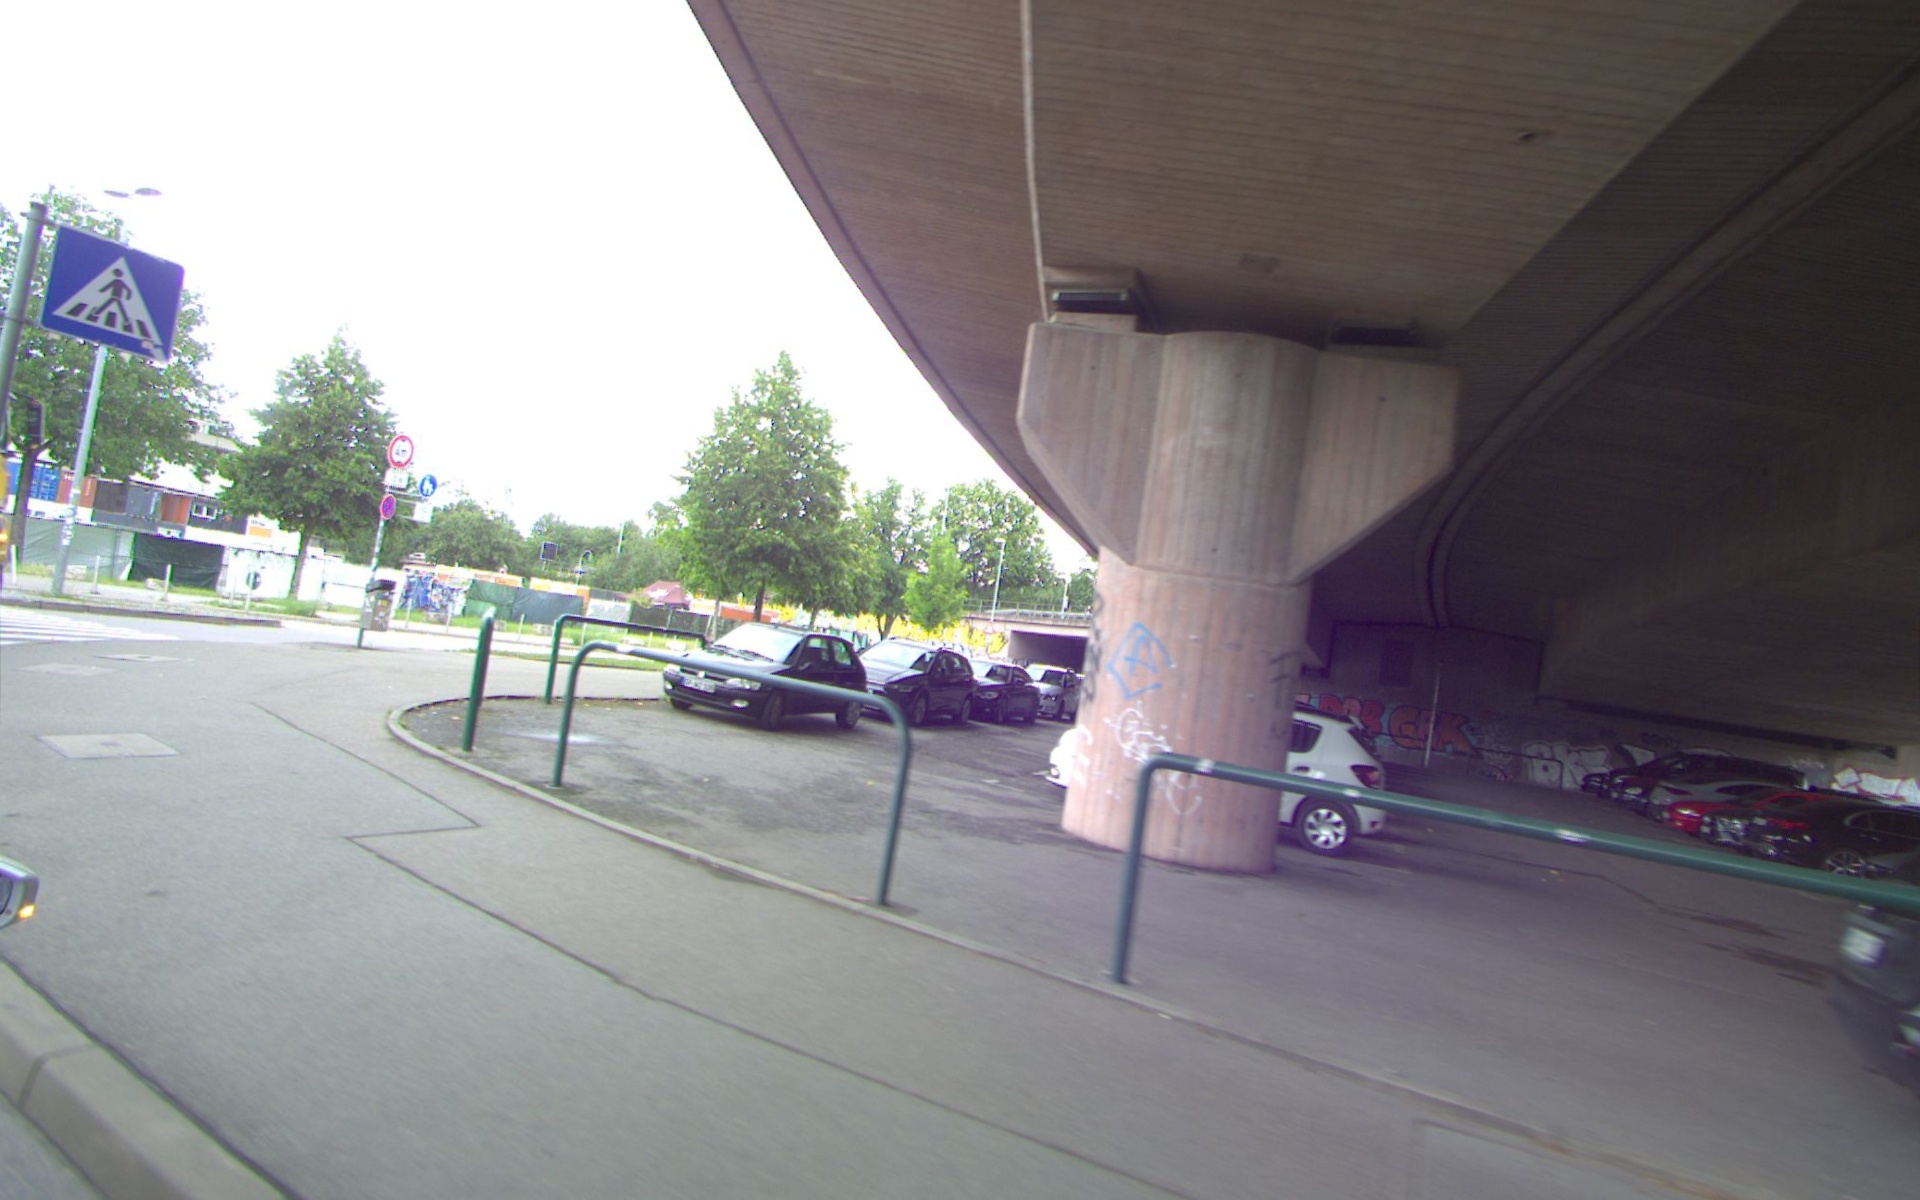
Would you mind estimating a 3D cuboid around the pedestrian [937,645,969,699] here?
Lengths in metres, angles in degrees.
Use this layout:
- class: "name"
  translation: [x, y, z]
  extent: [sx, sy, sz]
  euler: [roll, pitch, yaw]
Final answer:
- class: "pedestrian"
  translation: [-0.274, 2.733, 38.028]
  extent: [0.723, 1.928, 0.826]
  euler: [7, -2, 20]

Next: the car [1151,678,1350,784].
- class: "car"
  translation: [6.196, 2.761, 21.640]
  extent: [3.789, 1.573, 1.761]
  euler: [8, -2, 16]

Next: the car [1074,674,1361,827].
- class: "car"
  translation: [3.822, 2.178, 15.150]
  extent: [3.789, 1.526, 1.701]
  euler: [8, -2, 16]

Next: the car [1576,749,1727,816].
- class: "car"
  translation: [22.230, 5.846, 32.493]
  extent: [3.596, 1.404, 1.680]
  euler: [7, -2, 23]

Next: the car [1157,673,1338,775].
- class: "car"
  translation: [6.771, 2.893, 23.861]
  extent: [3.789, 1.713, 1.761]
  euler: [8, -2, 16]

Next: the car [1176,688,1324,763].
- class: "car"
  translation: [8.225, 3.520, 28.681]
  extent: [3.789, 1.454, 1.761]
  euler: [8, -2, 16]

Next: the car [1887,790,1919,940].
- class: "car"
  translation: [13.118, 3.371, 11.030]
  extent: [3.791, 1.717, 1.840]
  euler: [7, -2, 23]

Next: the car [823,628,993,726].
- class: "car"
  translation: [-0.839, 1.533, 19.134]
  extent: [1.482, 1.435, 4.255]
  euler: [9, -3, 21]

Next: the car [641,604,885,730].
- class: "car"
  translation: [-2.647, 1.030, 14.396]
  extent: [1.482, 1.344, 3.704]
  euler: [9, -3, 23]

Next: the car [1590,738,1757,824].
- class: "car"
  translation: [21.339, 5.369, 30.256]
  extent: [3.596, 1.808, 1.885]
  euler: [7, -2, 23]

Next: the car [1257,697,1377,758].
- class: "car"
  translation: [12.743, 4.538, 36.149]
  extent: [3.789, 1.495, 1.761]
  euler: [8, -2, 16]

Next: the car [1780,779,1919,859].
- class: "car"
  translation: [24.519, 5.878, 26.423]
  extent: [4.115, 1.482, 1.840]
  euler: [7, -2, 23]

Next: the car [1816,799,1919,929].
- class: "car"
  translation: [14.054, 3.771, 13.198]
  extent: [3.791, 1.443, 1.840]
  euler: [7, -2, 23]

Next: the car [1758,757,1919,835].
- class: "car"
  translation: [25.576, 5.605, 28.551]
  extent: [4.115, 1.482, 1.840]
  euler: [7, -2, 23]

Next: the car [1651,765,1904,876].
- class: "car"
  translation: [17.480, 4.683, 21.744]
  extent: [3.791, 1.443, 1.680]
  euler: [7, -2, 23]

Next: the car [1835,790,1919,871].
- class: "car"
  translation: [22.702, 5.477, 22.577]
  extent: [4.115, 1.482, 1.840]
  euler: [7, -2, 23]

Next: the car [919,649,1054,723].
- class: "car"
  translation: [0.748, 2.097, 23.923]
  extent: [1.739, 1.335, 4.380]
  euler: [8, -3, 21]

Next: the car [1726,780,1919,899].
- class: "car"
  translation: [15.906, 4.233, 17.357]
  extent: [3.791, 1.443, 1.840]
  euler: [7, -2, 23]

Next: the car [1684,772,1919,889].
- class: "car"
  translation: [16.689, 4.465, 19.540]
  extent: [3.791, 1.443, 1.840]
  euler: [7, -2, 23]

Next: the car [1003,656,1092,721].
- class: "car"
  translation: [2.657, 2.635, 29.669]
  extent: [1.587, 1.552, 4.076]
  euler: [8, -3, 18]

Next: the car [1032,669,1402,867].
- class: "car"
  translation: [3.075, 1.925, 12.238]
  extent: [3.936, 1.569, 1.641]
  euler: [7, -2, 20]

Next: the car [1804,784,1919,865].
- class: "car"
  translation: [23.617, 5.690, 24.558]
  extent: [4.115, 1.482, 1.840]
  euler: [7, -2, 23]

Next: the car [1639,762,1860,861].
- class: "car"
  translation: [18.212, 4.845, 23.416]
  extent: [3.596, 1.443, 1.680]
  euler: [7, -2, 23]

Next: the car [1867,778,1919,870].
- class: "car"
  translation: [21.911, 4.953, 20.148]
  extent: [5.013, 1.696, 2.093]
  euler: [7, -2, 23]

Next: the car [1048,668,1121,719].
- class: "car"
  translation: [4.375, 3.281, 34.886]
  extent: [1.550, 1.455, 3.381]
  euler: [8, -3, 22]

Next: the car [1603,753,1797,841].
- class: "car"
  translation: [19.005, 5.027, 26.023]
  extent: [3.596, 1.443, 1.680]
  euler: [7, -2, 23]

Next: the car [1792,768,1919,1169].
- class: "car"
  translation: [5.297, 1.616, 3.403]
  extent: [3.521, 1.411, 1.611]
  euler: [7, -4, 33]

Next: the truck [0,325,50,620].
- class: "truck"
  translation: [-12.390, -1.653, 10.068]
  extent: [2.735, 3.743, 7.826]
  euler: [6, -1, -28]

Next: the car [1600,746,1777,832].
- class: "car"
  translation: [20.353, 5.252, 28.285]
  extent: [3.596, 1.616, 1.680]
  euler: [7, -2, 23]
